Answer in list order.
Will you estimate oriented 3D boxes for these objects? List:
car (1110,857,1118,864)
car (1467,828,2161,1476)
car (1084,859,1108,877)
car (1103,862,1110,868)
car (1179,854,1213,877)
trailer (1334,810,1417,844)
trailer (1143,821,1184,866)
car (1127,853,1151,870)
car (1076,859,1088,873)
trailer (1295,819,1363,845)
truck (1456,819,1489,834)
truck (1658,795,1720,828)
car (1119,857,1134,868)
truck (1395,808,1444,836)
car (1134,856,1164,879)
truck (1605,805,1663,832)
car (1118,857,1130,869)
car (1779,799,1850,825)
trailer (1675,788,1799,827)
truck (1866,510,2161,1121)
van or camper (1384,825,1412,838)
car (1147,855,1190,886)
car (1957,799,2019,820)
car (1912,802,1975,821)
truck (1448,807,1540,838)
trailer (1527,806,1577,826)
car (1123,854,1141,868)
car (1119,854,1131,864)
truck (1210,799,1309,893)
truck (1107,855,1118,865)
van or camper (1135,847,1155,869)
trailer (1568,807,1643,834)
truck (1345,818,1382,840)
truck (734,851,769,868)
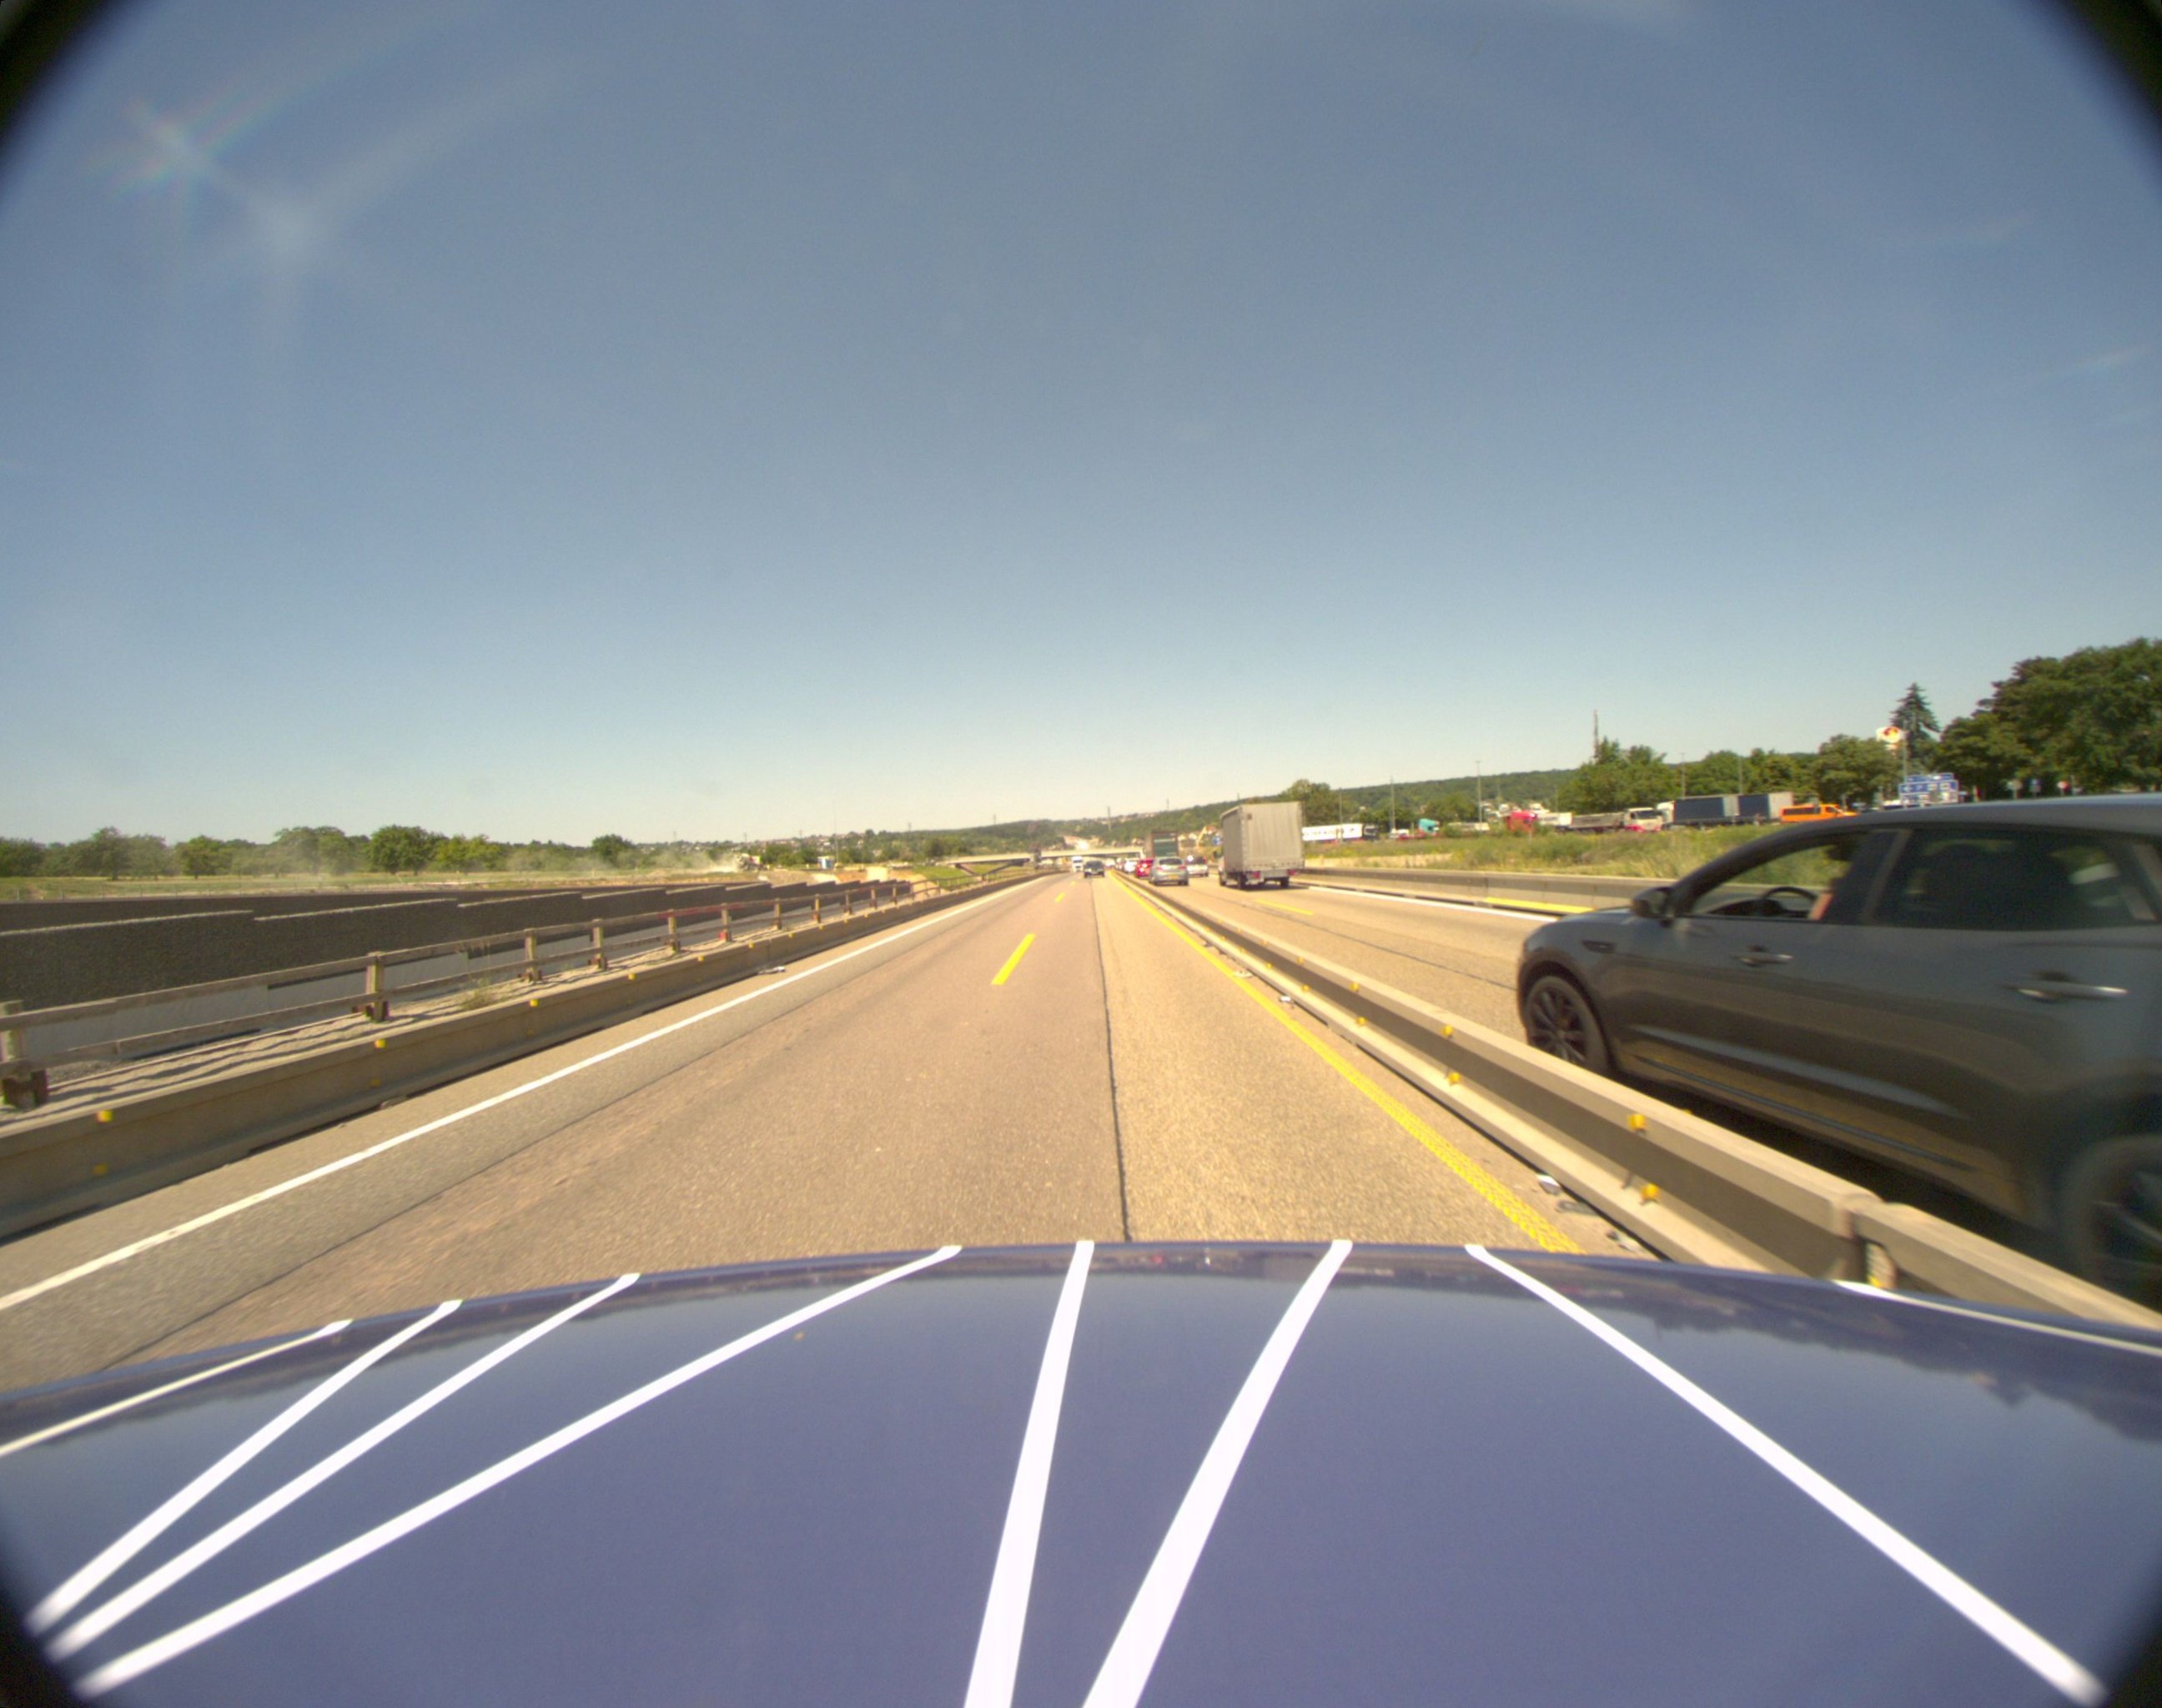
[{"bbox_3d":[7.128,1.379,163.222,1.651,1.359,3.945,-1,0,1],"label":"car"},{"bbox_3d":[3.745,0.742,3.110,1.947,1.649,4.745,-2,0,1],"label":"car"},{"bbox_3d":[1.257,1.134,62.826,1.810,1.299,4.000,-2,0,2],"label":"car"},{"bbox_3d":[6.384,2.738,193.408,1.651,1.359,3.945,-1,0,1],"label":"car"},{"bbox_3d":[7.844,0.739,52.000,1.627,1.439,3.785,-3,0,0],"label":"car"},{"bbox_3d":[48.314,-4.364,125.032,2.865,4.142,12.348,-6,0,-45],"label":"trailer"},{"bbox_3d":[8.488,-0.968,79.743,3.014,4.173,13.852,-2,0,2],"label":"trailer"},{"bbox_3d":[5.328,0.671,70.748,1.901,1.484,4.760,-2,0,1],"label":"car"},{"bbox_3d":[0.274,2.809,182.326,2.544,3.126,7.548,-4,0,2],"label":"car"},{"bbox_3d":[48.805,-4.293,150.045,2.625,3.762,12.722,-6,0,-45],"label":"trailer"},{"bbox_3d":[77.249,-5.338,150.078,2.548,2.589,7.779,-4,0,2],"label":"truck"},{"bbox_3d":[77.085,-5.356,96.478,2.872,3.601,5.960,-4,0,1],"label":"truck"},{"bbox_3d":[5.759,1.069,96.986,1.714,1.344,3.890,-1,0,1],"label":"car"},{"bbox_3d":[53.384,-5.046,119.838,2.838,3.728,6.132,-6,0,-45],"label":"truck"},{"bbox_3d":[4.568,0.895,51.503,1.653,1.426,4.000,-2,0,0],"label":"car"},{"bbox_3d":[63.473,-4.011,87.307,2.275,2.751,5.631,-4,0,-1],"label":"truck"},{"bbox_3d":[6.475,1.317,113.744,1.651,1.592,4.491,-2,0,2],"label":"car"},{"bbox_3d":[76.781,-4.400,79.615,2.003,2.240,5.015,-4,0,-33],"label":"car"},{"bbox_3d":[76.982,-5.280,89.777,3.029,3.601,13.434,-4,0,1],"label":"trailer"},{"bbox_3d":[7.026,-0.237,1.525,2.501,3.272,8.117,-2,0,0],"label":"truck"},{"bbox_3d":[77.306,-5.407,185.589,2.761,2.717,8.595,-2,0,-3],"label":"van or camper"},{"bbox_3d":[4.404,0.787,38.640,1.686,1.420,4.202,-2,0,0],"label":"car"},{"bbox_3d":[95.274,-4.661,79.872,3.989,1.823,1.746,-2,0,44],"label":"car"},{"bbox_3d":[95.780,-4.676,84.398,1.745,1.823,4.402,-3,0,-34],"label":"car"},{"bbox_3d":[52.301,-3.881,96.599,10.063,3.755,2.004,1,1,45],"label":"truck"},{"bbox_3d":[97.846,-7.838,158.141,2.951,3.360,11.705,-3,0,-1],"label":"trailer"},{"bbox_3d":[5.593,0.729,83.480,1.770,1.465,4.228,-2,0,1],"label":"car"},{"bbox_3d":[10.574,1.241,183.116,2.416,2.106,5.315,-4,0,1],"label":"car"},{"bbox_3d":[7.278,-0.304,32.070,2.395,3.365,7.715,-3,0,1],"label":"truck"},{"bbox_3d":[10.100,2.050,243.257,3.397,2.939,6.085,-4,0,2],"label":"truck"},{"bbox_3d":[9.122,0.598,108.260,2.442,2.900,7.825,-2,0,3],"label":"van or camper"},{"bbox_3d":[63.355,-3.996,92.179,2.260,2.751,9.395,-4,0,-1],"label":"trailer"},{"bbox_3d":[53.907,-4.699,145.056,5.724,3.596,2.585,-6,0,42],"label":"truck"},{"bbox_3d":[-69.877,1.166,161.450,3.155,3.445,8.757,-4,0,2],"label":"truck"}]
